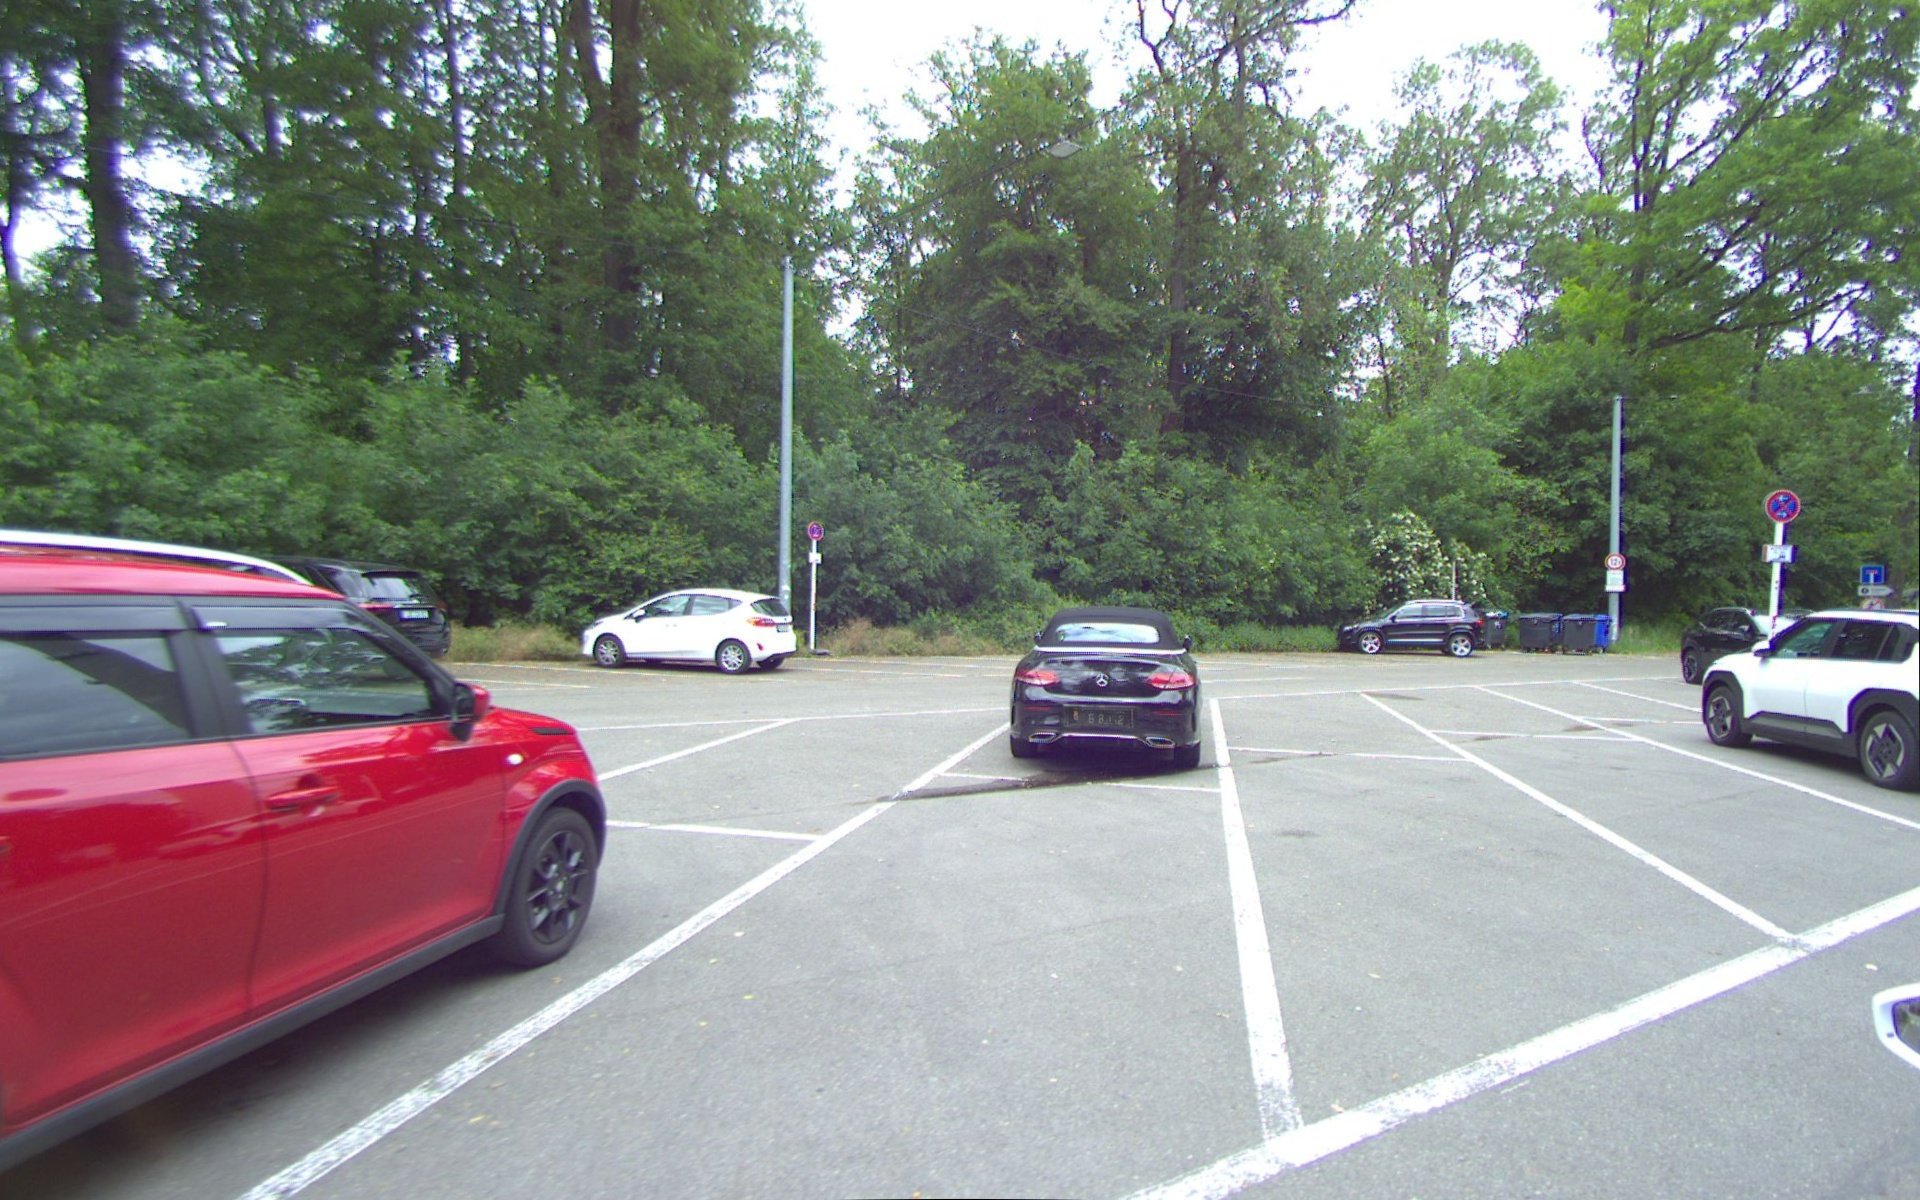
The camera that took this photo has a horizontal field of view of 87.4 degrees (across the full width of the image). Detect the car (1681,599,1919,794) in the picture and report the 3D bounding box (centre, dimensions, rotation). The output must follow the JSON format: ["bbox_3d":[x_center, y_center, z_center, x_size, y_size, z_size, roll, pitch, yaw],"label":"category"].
[{"bbox_3d":[9.236,0.822,9.944,1.809,1.618,4.192,1,0,11],"label":"car"}]

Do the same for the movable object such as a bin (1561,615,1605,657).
[{"bbox_3d":[20.852,1.190,33.636,1.151,1.325,1.311,1,0,29],"label":"movable object such as a bin"}]

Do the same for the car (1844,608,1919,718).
[{"bbox_3d":[14.939,0.944,14.320,1.810,1.608,3.979,1,0,13],"label":"car"}]

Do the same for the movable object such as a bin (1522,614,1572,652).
[{"bbox_3d":[20.983,1.172,35.919,1.228,1.337,1.116,1,0,-36],"label":"movable object such as a bin"}]

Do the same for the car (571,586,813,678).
[{"bbox_3d":[-4.944,0.546,18.716,3.919,1.531,1.870,1,0,15],"label":"car"}]

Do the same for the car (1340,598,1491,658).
[{"bbox_3d":[14.150,0.837,31.434,3.989,1.707,1.881,1,0,15],"label":"car"}]

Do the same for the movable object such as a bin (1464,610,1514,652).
[{"bbox_3d":[18.559,1.074,35.263,1.116,1.444,1.119,1,0,-28],"label":"movable object such as a bin"}]

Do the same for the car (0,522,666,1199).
[{"bbox_3d":[-2.545,0.637,3.061,1.652,1.606,3.656,1,0,11],"label":"car"}]

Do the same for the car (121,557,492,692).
[{"bbox_3d":[-9.751,0.309,15.115,4.613,1.790,2.113,1,0,15],"label":"car"}]

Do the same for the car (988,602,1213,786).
[{"bbox_3d":[1.553,0.771,10.455,1.831,1.461,4.319,1,0,11],"label":"car"}]

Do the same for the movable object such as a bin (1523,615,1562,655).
[{"bbox_3d":[19.843,1.180,34.244,1.107,1.332,1.182,1,0,29],"label":"movable object such as a bin"}]

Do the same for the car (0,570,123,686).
[{"bbox_3d":[-13.317,0.294,13.082,3.919,1.394,1.741,2,0,15],"label":"car"}]

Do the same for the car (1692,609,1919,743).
[{"bbox_3d":[12.359,0.938,13.937,1.835,1.575,4.002,1,0,7],"label":"car"}]

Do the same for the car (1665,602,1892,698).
[{"bbox_3d":[16.236,0.910,20.217,1.860,1.685,4.002,1,0,12],"label":"car"}]

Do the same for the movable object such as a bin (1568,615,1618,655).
[{"bbox_3d":[22.389,1.235,35.517,1.138,1.342,1.241,1,0,-43],"label":"movable object such as a bin"}]
